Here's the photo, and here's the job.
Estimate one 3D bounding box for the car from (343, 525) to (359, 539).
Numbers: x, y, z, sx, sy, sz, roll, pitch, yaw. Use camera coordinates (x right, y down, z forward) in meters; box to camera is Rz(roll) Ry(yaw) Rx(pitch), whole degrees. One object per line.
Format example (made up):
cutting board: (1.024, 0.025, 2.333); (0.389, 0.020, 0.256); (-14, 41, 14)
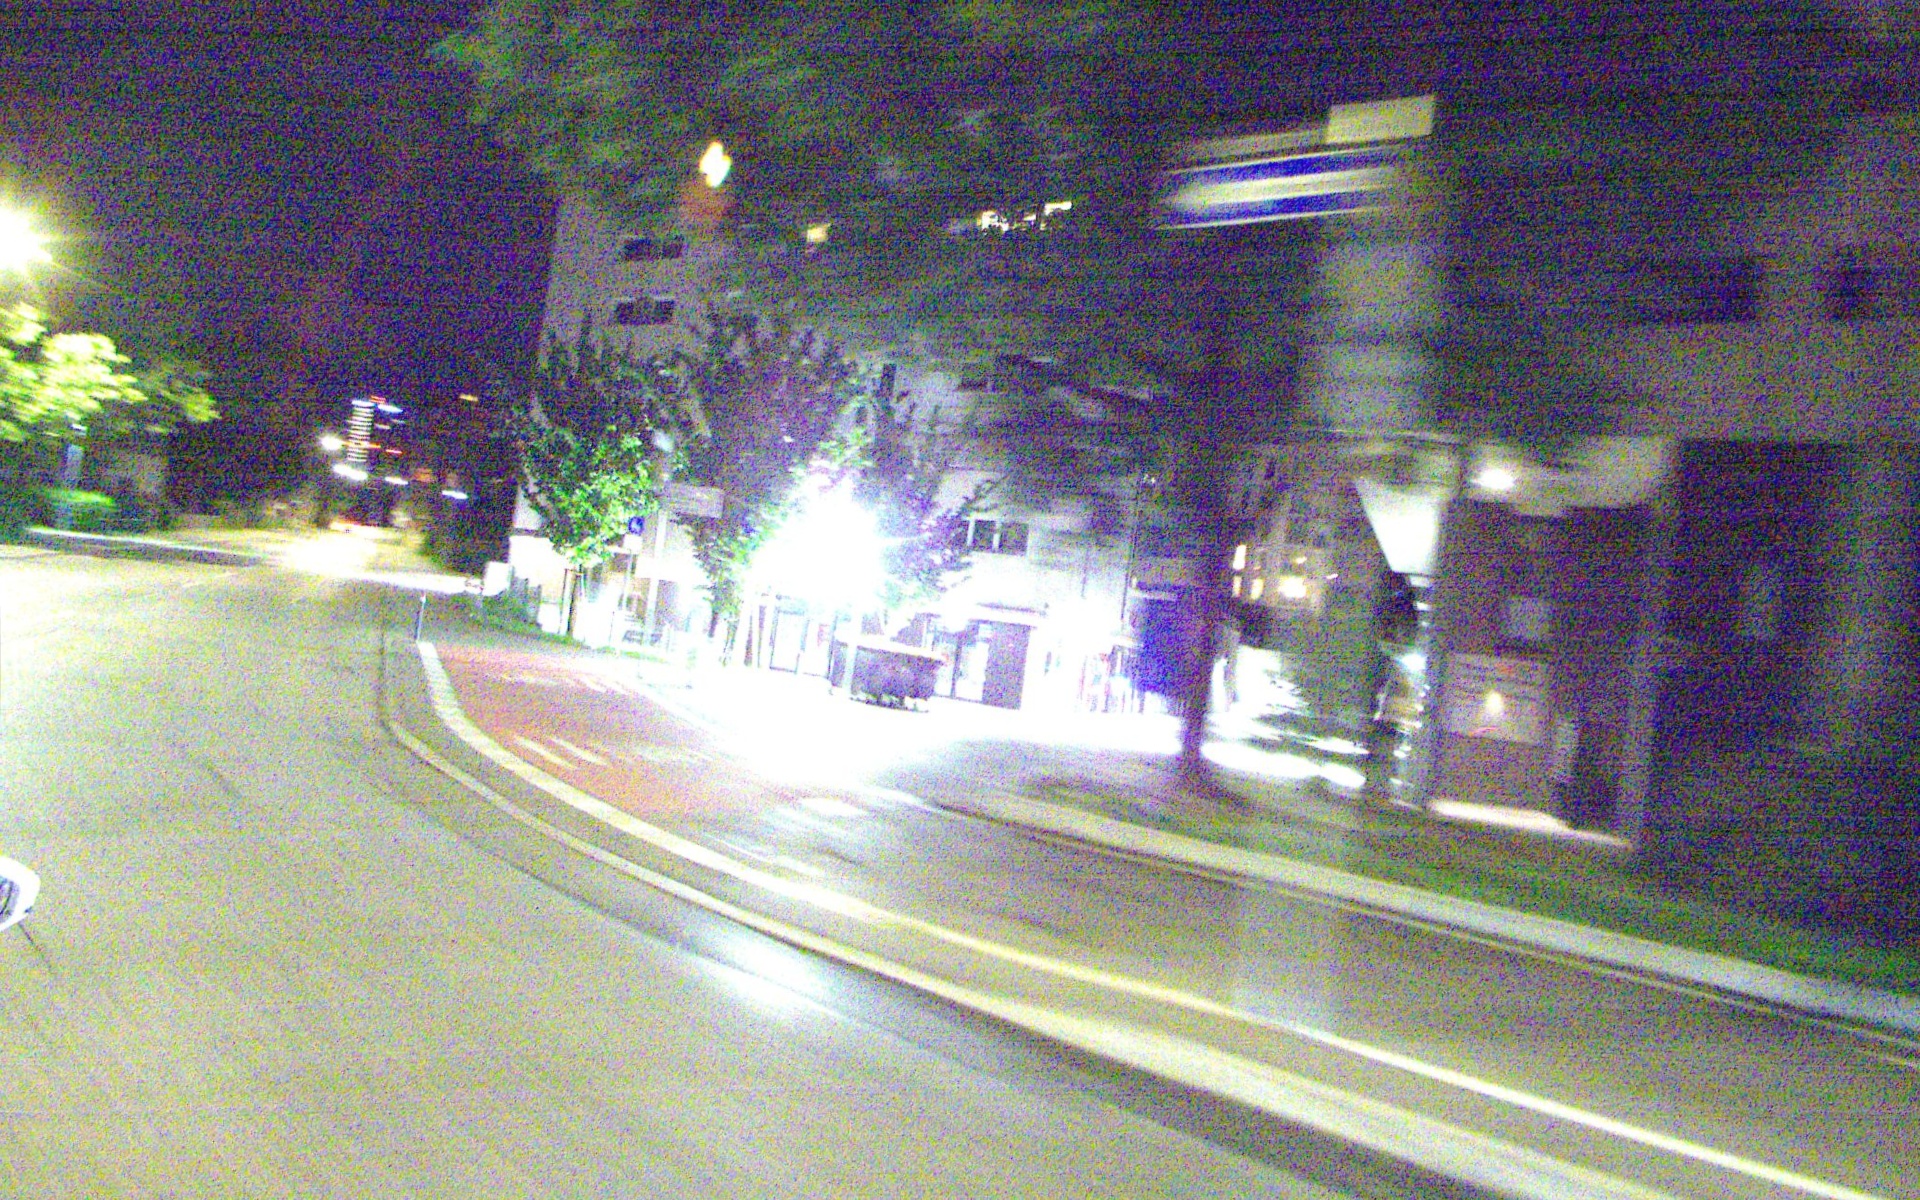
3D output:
car: (-98.516, -10.925, 162.718); (1.910, 1.876, 3.971); (7, -2, -29)
